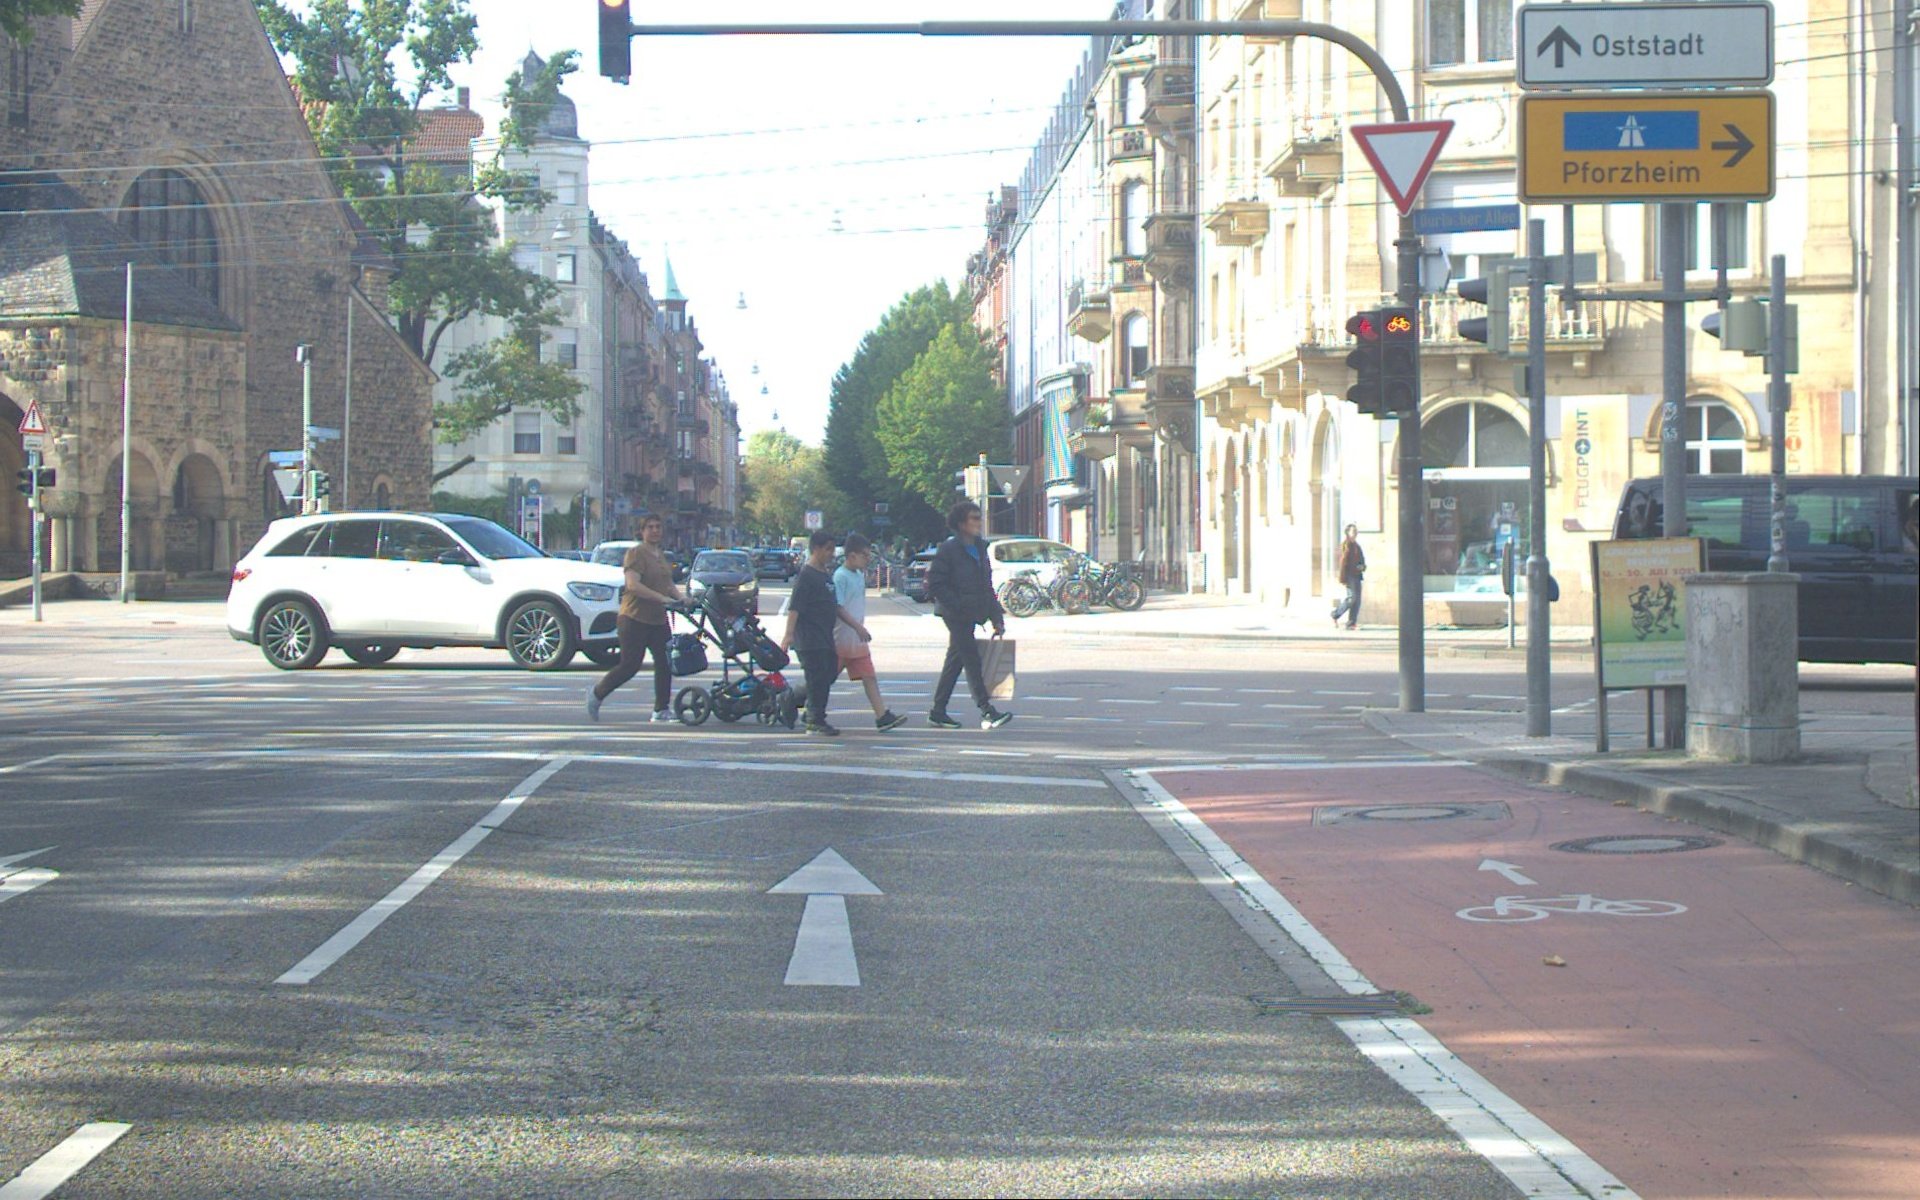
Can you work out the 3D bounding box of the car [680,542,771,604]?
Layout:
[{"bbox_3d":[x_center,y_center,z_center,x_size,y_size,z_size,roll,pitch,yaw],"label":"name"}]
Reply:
[{"bbox_3d":[-5.388,-0.634,79.480,1.949,1.367,4.001,0,1,-2],"label":"car"}]

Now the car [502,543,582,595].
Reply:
[{"bbox_3d":[-12.477,-0.928,102.780,1.993,1.492,4.001,0,1,-2],"label":"car"}]

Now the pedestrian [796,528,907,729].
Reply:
[{"bbox_3d":[-0.780,0.197,24.719,0.656,1.427,0.498,1,1,22],"label":"pedestrian"}]

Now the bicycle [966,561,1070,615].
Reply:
[{"bbox_3d":[1.174,-0.248,69.432,2.022,1.078,0.620,0,1,-11],"label":"bicycle"}]

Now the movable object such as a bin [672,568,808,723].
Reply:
[{"bbox_3d":[-1.633,0.331,25.552,0.838,1.120,0.575,1,1,22],"label":"movable object such as a bin"}]

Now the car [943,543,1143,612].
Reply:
[{"bbox_3d":[1.702,-0.489,71.816,3.986,1.415,2.000,0,1,-5],"label":"car"}]

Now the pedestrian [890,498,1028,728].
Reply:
[{"bbox_3d":[0.000,0.086,25.255,0.782,1.656,0.778,1,1,22],"label":"pedestrian"}]

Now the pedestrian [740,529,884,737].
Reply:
[{"bbox_3d":[-1.037,0.217,24.142,0.782,1.427,0.730,1,1,22],"label":"pedestrian"}]

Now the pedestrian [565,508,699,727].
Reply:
[{"bbox_3d":[-2.467,0.117,25.904,0.815,1.623,0.604,1,1,23],"label":"pedestrian"}]

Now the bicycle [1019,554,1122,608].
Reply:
[{"bbox_3d":[2.251,-0.398,70.146,2.022,1.078,0.631,0,1,-11],"label":"bicycle"}]

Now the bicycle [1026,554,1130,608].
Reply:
[{"bbox_3d":[2.379,-0.381,69.476,2.022,1.078,0.620,0,1,-11],"label":"bicycle"}]

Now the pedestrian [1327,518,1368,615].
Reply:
[{"bbox_3d":[6.516,-0.569,57.763,0.562,1.618,0.600,0,1,20],"label":"pedestrian"}]

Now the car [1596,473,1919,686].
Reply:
[{"bbox_3d":[8.361,-0.201,31.222,4.848,1.864,2.029,0,1,18],"label":"car"}]

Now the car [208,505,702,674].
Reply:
[{"bbox_3d":[-5.263,-0.144,35.949,4.710,1.677,2.015,0,1,18],"label":"car"}]

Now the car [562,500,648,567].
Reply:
[{"bbox_3d":[-9.294,-1.754,90.342,1.949,1.744,4.001,0,1,-2],"label":"car"}]
